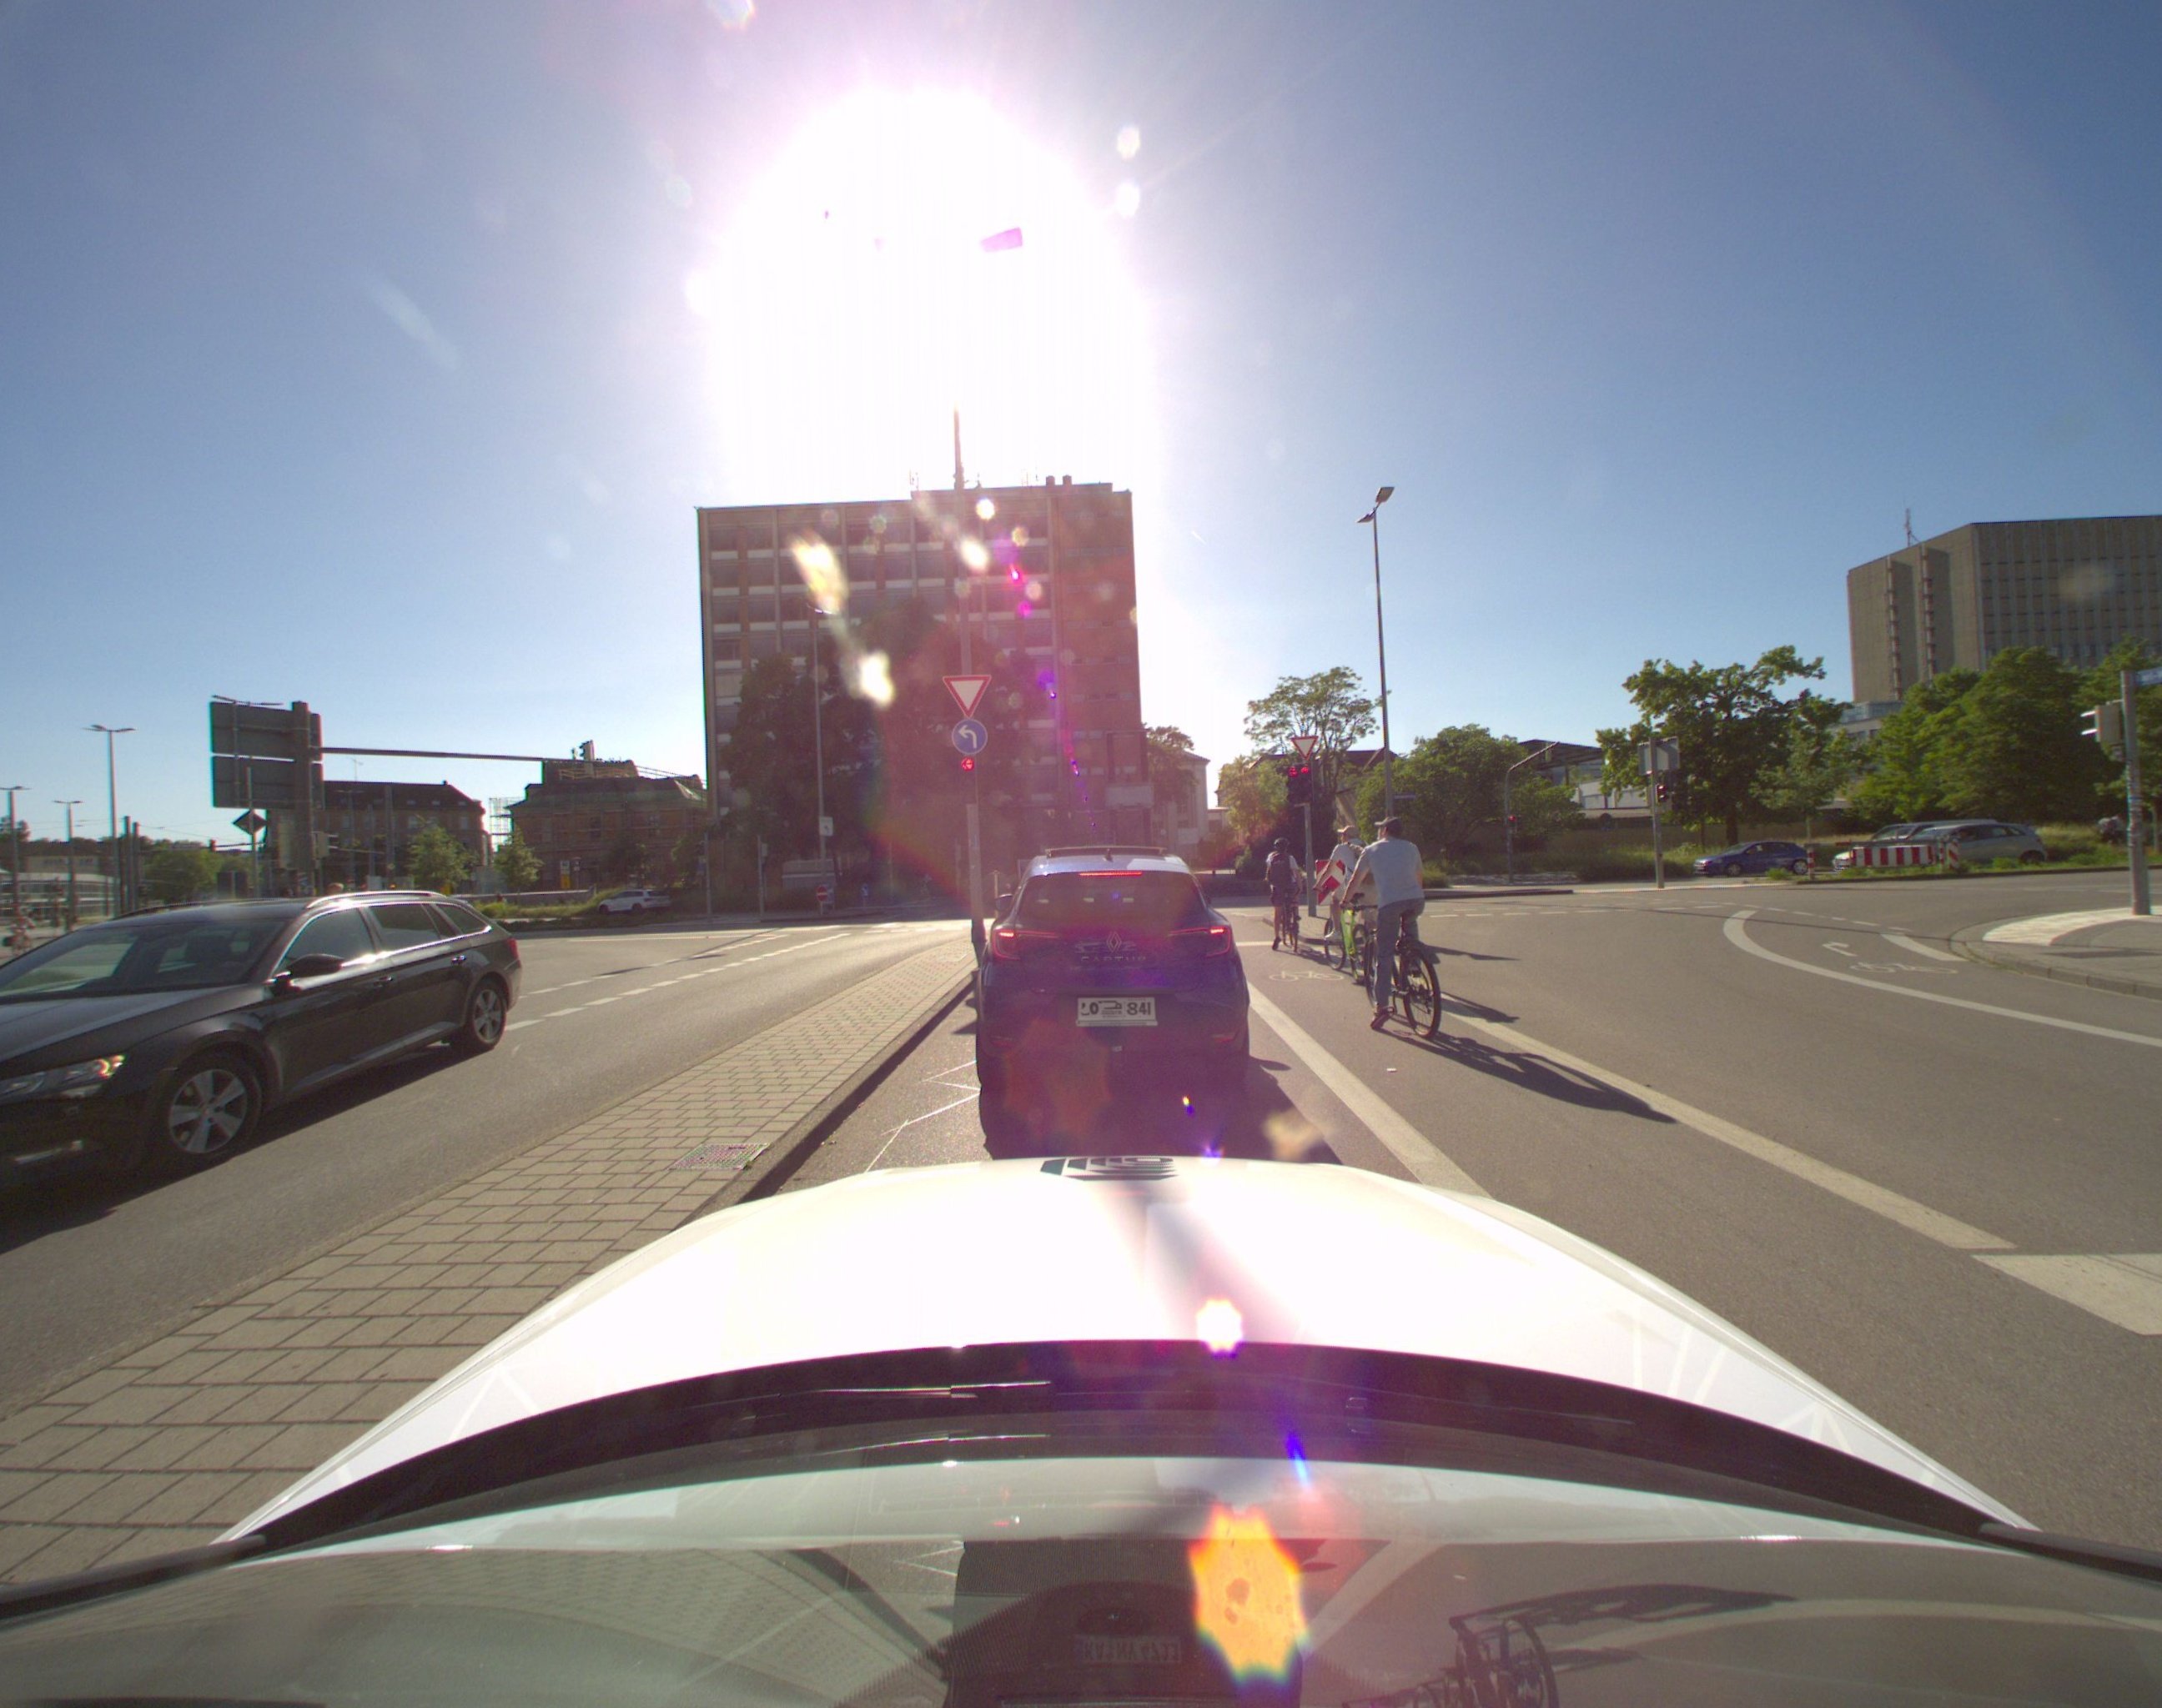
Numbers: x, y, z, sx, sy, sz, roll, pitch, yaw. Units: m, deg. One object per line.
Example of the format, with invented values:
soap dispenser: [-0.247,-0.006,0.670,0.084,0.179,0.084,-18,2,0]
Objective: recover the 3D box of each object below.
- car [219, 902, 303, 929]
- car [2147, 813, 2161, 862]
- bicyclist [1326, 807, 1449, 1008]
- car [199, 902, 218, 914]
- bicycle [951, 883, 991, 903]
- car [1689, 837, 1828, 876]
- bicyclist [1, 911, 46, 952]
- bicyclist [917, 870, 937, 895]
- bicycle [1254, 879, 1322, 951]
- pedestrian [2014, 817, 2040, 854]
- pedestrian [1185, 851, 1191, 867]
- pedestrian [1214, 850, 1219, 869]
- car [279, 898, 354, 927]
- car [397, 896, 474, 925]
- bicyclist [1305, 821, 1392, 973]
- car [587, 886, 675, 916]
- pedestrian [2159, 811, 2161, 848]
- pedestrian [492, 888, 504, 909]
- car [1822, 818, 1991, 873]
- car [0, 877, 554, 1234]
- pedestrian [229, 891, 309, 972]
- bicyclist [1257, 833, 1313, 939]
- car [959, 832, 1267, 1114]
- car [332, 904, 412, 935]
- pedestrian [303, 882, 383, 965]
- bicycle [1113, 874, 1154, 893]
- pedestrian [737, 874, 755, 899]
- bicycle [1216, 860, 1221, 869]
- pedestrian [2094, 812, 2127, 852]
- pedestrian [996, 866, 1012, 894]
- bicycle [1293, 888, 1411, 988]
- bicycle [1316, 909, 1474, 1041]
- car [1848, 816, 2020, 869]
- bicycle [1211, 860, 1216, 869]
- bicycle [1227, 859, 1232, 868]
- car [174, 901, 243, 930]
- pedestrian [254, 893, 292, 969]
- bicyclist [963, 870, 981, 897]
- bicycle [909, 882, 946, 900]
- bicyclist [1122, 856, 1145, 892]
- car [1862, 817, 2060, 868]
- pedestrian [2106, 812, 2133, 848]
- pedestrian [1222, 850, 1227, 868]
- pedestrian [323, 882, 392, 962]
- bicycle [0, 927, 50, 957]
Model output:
car: [-49.019,3.677,48.663,4.841,1.388,1.854,-3,-1,23]
car: [36.981,-0.623,25.352,4.713,1.584,2.002,-2,-1,3]
bicyclist: [2.709,0.450,7.299,0.748,1.668,1.017,0,-1,3]
car: [-154.284,9.493,143.979,3.948,2.013,2.013,-3,-1,38]
bicycle: [-5.932,2.112,44.029,2.016,0.964,0.593,-2,-1,-25]
car: [28.213,0.101,34.011,4.140,1.435,1.747,-2,-1,8]
bicyclist: [-40.862,2.987,31.458,1.059,1.500,0.745,-5,-1,21]
bicyclist: [-9.143,1.685,48.381,0.929,1.429,0.601,-3,-1,19]
bicycle: [3.244,0.928,12.937,0.735,0.995,2.177,0,-1,6]
pedestrian: [46.261,-0.896,39.811,0.559,1.778,0.528,-2,-1,5]
pedestrian: [12.979,0.632,98.859,0.621,1.856,0.563,-2,-1,2]
pedestrian: [15.095,0.599,90.860,0.473,2.014,0.524,-2,-1,8]
car: [-48.464,3.683,51.650,4.334,1.632,1.854,-3,-1,23]
car: [-36.290,3.189,45.785,3.802,1.435,1.752,-2,-1,23]
bicyclist: [3.211,0.494,9.853,0.644,1.739,1.065,0,-1,-4]
car: [-26.614,2.777,48.152,4.782,1.632,1.854,-2,-1,22]
pedestrian: [52.175,-1.212,38.887,0.559,1.778,0.528,-2,-1,5]
pedestrian: [-47.252,3.617,66.000,0.541,1.615,0.653,-3,-1,41]
car: [30.817,-0.291,30.538,3.962,1.815,2.006,-2,-1,10]
car: [-5.878,1.018,5.828,1.815,1.505,4.765,-4,0,-12]
pedestrian: [-18.082,1.701,18.145,0.900,1.690,0.839,-4,-3,-3]
bicyclist: [3.234,0.501,12.990,0.722,1.629,0.970,0,-1,6]
car: [0.200,0.708,6.805,1.798,1.632,3.999,-1,0,0]
car: [-42.568,3.919,48.897,4.334,1.632,1.854,-3,-1,23]
pedestrian: [-16.851,1.565,18.617,0.697,1.800,1.108,-5,-3,17]
bicycle: [2.821,1.581,43.757,2.067,0.930,0.698,-3,1,13]
pedestrian: [-22.531,2.197,54.721,0.852,1.571,0.562,-6,-1,25]
bicycle: [15.869,1.223,93.825,0.403,0.973,1.686,0,-1,6]
pedestrian: [48.681,-1.016,38.503,0.559,1.848,0.714,-2,-1,5]
pedestrian: [-4.519,1.544,47.981,0.732,1.603,0.601,-3,-1,14]
bicycle: [3.210,0.955,9.855,0.657,1.003,1.967,0,-1,-4]
bicycle: [2.716,1.005,7.299,0.737,0.896,1.980,0,-1,3]
car: [35.247,-0.440,33.764,4.856,2.107,2.002,0,-1,4]
bicycle: [15.251,1.228,93.884,0.403,0.973,1.686,0,-1,6]
bicycle: [17.181,1.073,94.176,0.403,0.973,1.686,0,-1,6]
car: [-55.166,3.906,51.473,4.331,1.632,1.855,-3,-1,27]
pedestrian: [-19.231,1.805,19.381,0.600,1.729,0.572,-2,-1,-45]
bicyclist: [-5.894,1.596,44.056,0.741,1.441,0.593,-2,-1,-25]
bicycle: [-9.119,2.189,48.373,2.059,0.964,0.601,-3,-1,19]
bicyclist: [2.827,1.084,43.894,1.094,1.867,0.655,-3,-1,12]
car: [28.136,-0.338,26.170,4.025,1.408,1.872,-2,-1,8]
pedestrian: [51.083,-1.174,40.051,0.559,1.778,0.528,-2,-1,5]
pedestrian: [16.208,0.602,92.186,0.473,2.014,0.469,-2,-1,8]
pedestrian: [-16.132,1.500,18.170,0.786,1.690,0.792,-5,-3,15]
bicycle: [-40.839,3.395,31.439,1.966,0.995,0.745,-5,-1,23]
